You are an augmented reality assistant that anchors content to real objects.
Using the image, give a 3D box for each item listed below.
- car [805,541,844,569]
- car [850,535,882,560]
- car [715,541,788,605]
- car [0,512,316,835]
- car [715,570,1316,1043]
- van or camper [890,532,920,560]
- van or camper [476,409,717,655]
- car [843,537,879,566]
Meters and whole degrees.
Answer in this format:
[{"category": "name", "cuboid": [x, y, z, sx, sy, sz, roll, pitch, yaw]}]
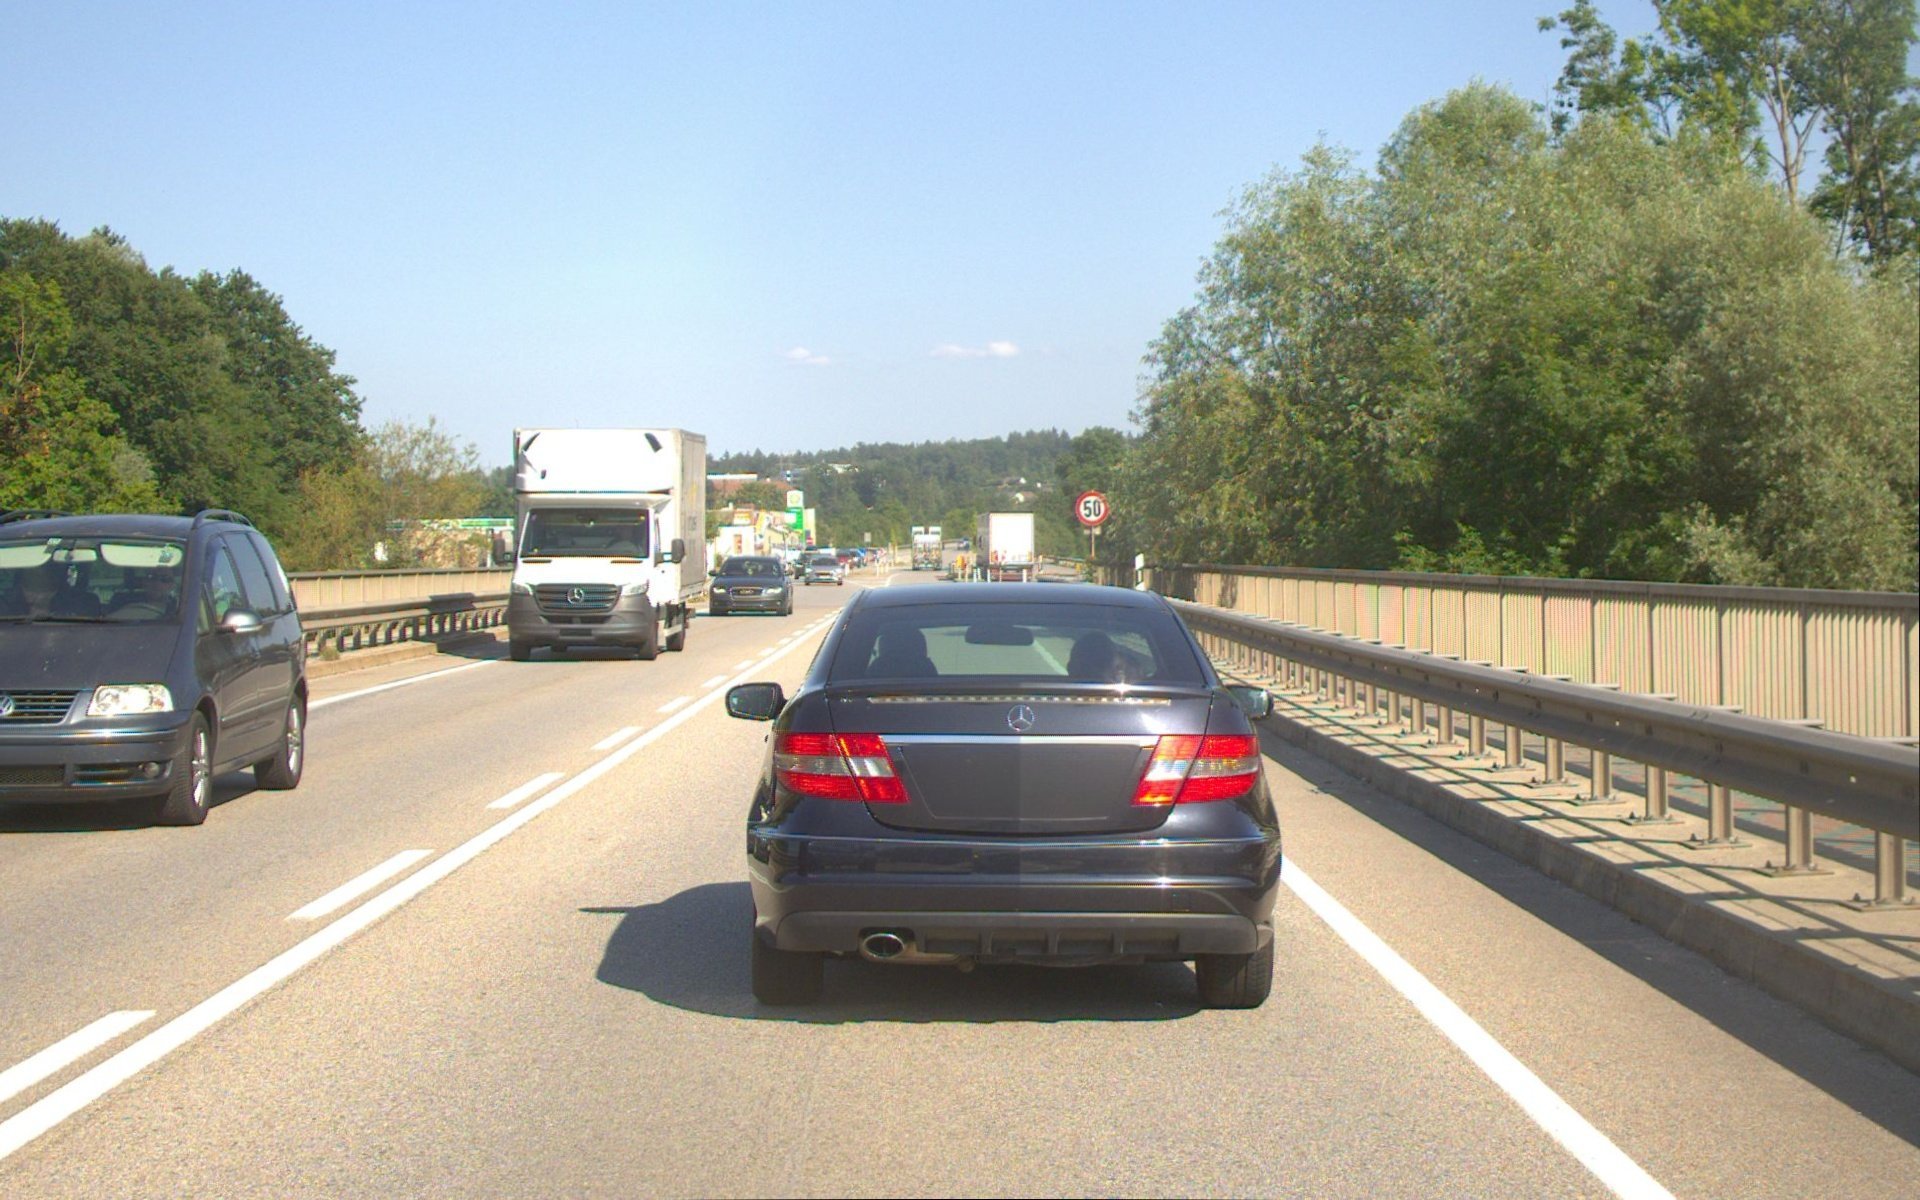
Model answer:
[{"category": "car", "cuboid": [-6.554, -2.179, 166.271, 1.701, 1.351, 3.736, 0, 1, 0]}, {"category": "car", "cuboid": [-6.203, -3.451, 226.465, 1.804, 1.601, 3.915, 1, 1, 3]}, {"category": "car", "cuboid": [-4.852, -0.650, 80.405, 1.659, 1.431, 4.189, 0, 1, -3]}, {"category": "car", "cuboid": [-4.967, 0.328, 19.741, 1.841, 1.636, 4.577, 0, 1, -2]}, {"category": "car", "cuboid": [0.193, 0.601, 12.290, 1.793, 1.371, 4.000, 0, 1, 1]}, {"category": "van or camper", "cuboid": [-4.059, -3.982, 253.381, 1.994, 2.007, 4.000, 0, 1, 2]}, {"category": "van or camper", "cuboid": [-5.102, -0.981, 49.485, 2.635, 3.244, 7.750, 0, 1, 0]}, {"category": "car", "cuboid": [-6.899, -3.372, 240.021, 1.994, 2.007, 3.999, 0, 1, 7]}]
